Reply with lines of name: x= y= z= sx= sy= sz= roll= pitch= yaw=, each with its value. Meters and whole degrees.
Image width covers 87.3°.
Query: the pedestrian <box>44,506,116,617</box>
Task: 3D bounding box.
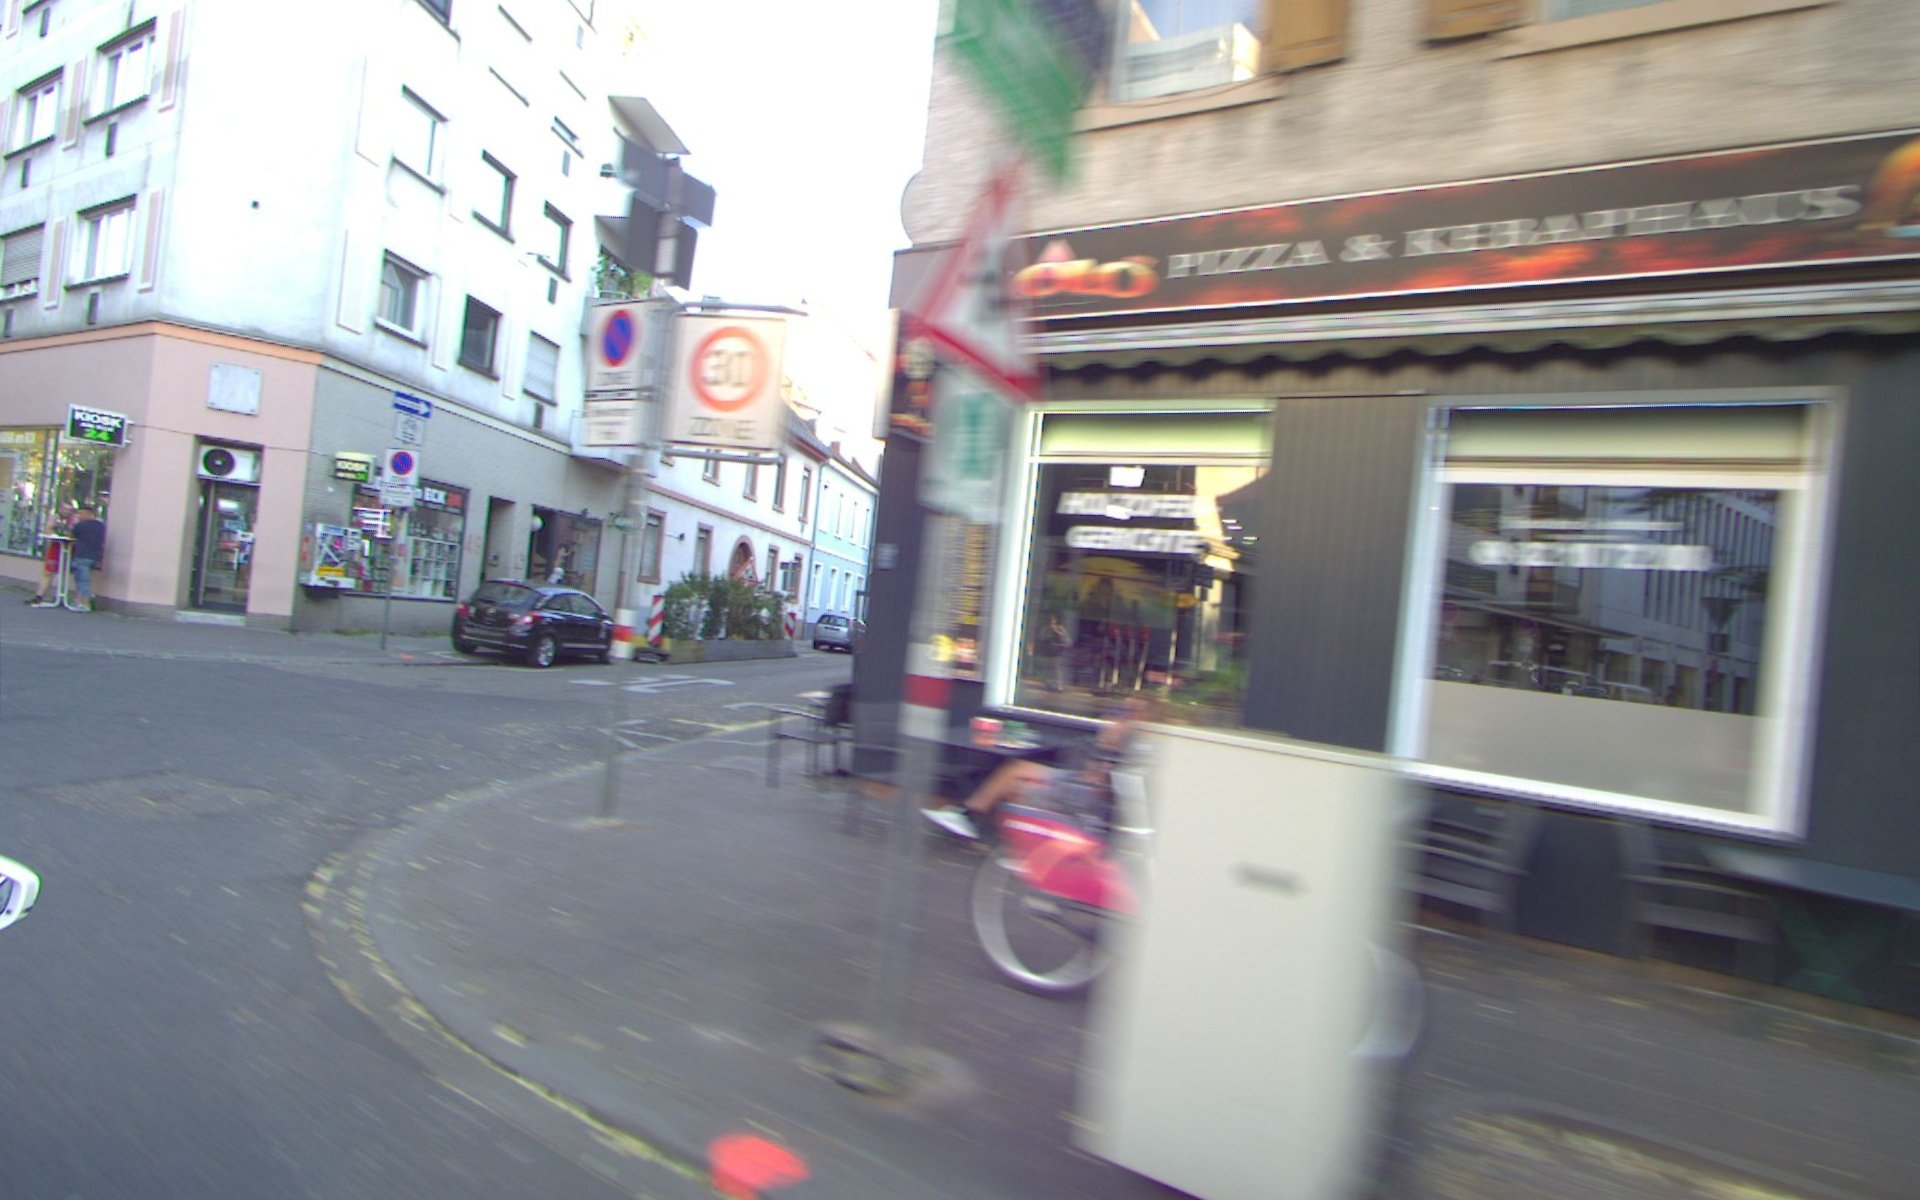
pedestrian: x=-13.505 y=-0.579 z=15.439 sx=0.652 sy=1.604 sz=0.567 roll=7 pitch=2 yaw=32

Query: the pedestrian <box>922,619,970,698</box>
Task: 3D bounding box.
pedestrian: x=-0.292 y=1.253 z=21.859 sx=0.824 sy=1.591 sz=0.800 roll=6 pitch=0 yaw=4

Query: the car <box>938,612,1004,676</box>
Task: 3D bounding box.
car: x=0.473 y=1.606 z=36.631 sx=1.755 sy=1.988 sz=4.051 roll=6 pitch=-1 yaw=8

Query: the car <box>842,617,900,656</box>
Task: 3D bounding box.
car: x=-4.086 y=1.709 z=46.894 sx=1.755 sy=1.506 sz=3.679 roll=8 pitch=-1 yaw=8

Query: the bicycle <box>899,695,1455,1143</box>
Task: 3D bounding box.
bicycle: x=0.794 y=1.050 z=3.892 sx=1.868 sy=1.126 sz=0.779 roll=5 pitch=0 yaw=32

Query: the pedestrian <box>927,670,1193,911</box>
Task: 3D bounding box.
pedestrian: x=0.585 y=1.059 z=5.986 sx=1.339 sy=1.155 sz=0.682 roll=4 pitch=0 yaw=32

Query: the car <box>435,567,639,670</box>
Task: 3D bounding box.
car: x=-7.777 y=0.397 z=18.916 sx=1.755 sy=1.506 sz=3.679 roll=8 pitch=-1 yaw=8

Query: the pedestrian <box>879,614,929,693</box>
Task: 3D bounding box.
pedestrian: x=-1.203 y=1.154 z=21.927 sx=0.824 sy=1.591 sz=0.800 roll=6 pitch=0 yaw=4

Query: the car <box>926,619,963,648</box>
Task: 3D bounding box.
car: x=-1.011 y=2.311 z=68.088 sx=1.755 sy=1.666 sz=3.679 roll=8 pitch=-1 yaw=8

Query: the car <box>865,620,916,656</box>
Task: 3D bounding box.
car: x=-3.504 y=1.968 z=51.498 sx=1.755 sy=1.506 sz=3.679 roll=8 pitch=-1 yaw=8

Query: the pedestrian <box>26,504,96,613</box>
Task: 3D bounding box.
pedestrian: x=-14.146 y=-0.652 z=15.827 sx=0.652 sy=1.620 sz=0.567 roll=7 pitch=2 yaw=32

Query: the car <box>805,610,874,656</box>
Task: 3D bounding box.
car: x=-4.820 y=1.362 z=40.808 sx=1.755 sy=1.506 sz=3.679 roll=8 pitch=-1 yaw=8

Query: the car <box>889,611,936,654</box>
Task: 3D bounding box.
car: x=-2.646 y=1.869 z=56.629 sx=1.755 sy=2.079 sz=3.679 roll=8 pitch=-1 yaw=8
